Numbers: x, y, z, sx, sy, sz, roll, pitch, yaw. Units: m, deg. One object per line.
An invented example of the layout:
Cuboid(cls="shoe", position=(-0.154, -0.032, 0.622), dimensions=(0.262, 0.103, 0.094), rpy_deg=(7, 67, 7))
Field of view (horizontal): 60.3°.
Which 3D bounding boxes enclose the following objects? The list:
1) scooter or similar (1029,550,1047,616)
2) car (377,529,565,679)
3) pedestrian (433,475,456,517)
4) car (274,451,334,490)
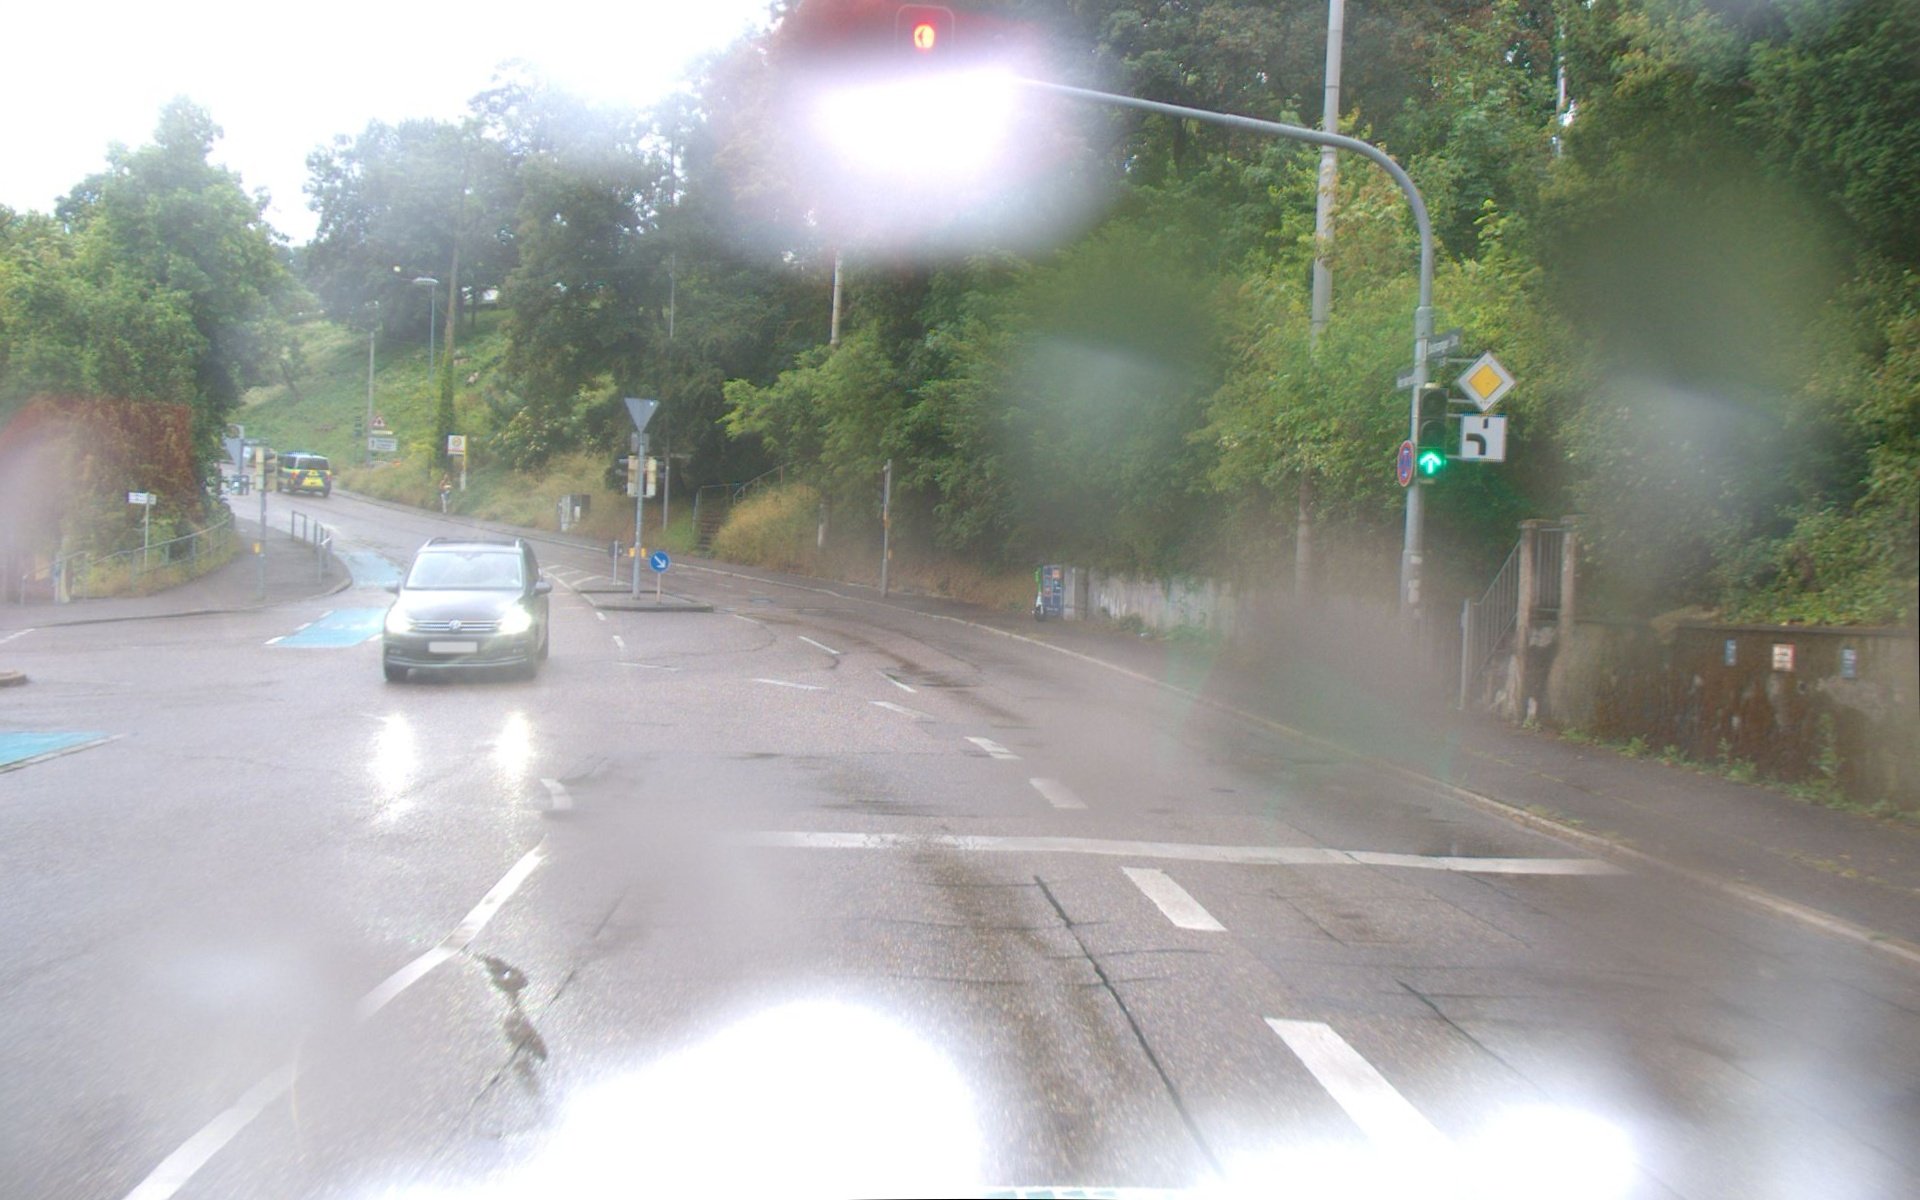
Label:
Cuboid(cls="scooter or similar", position=(1.584, -0.352, 33.524), dimensions=(0.315, 1.302, 0.752), rpy_deg=(1, 3, 3))
Cuboid(cls="car", position=(-6.170, -0.041, 21.282), dimensions=(1.815, 1.709, 4.164), rpy_deg=(0, 3, -10))
Cuboid(cls="pedestrian", position=(-22.740, -4.597, 72.956), dimensions=(0.868, 1.767, 0.860), rpy_deg=(2, -1, -21))
Cuboid(cls="car", position=(-32.736, -6.460, 82.504), dimensions=(1.902, 1.811, 3.953), rpy_deg=(2, 3, -35))
